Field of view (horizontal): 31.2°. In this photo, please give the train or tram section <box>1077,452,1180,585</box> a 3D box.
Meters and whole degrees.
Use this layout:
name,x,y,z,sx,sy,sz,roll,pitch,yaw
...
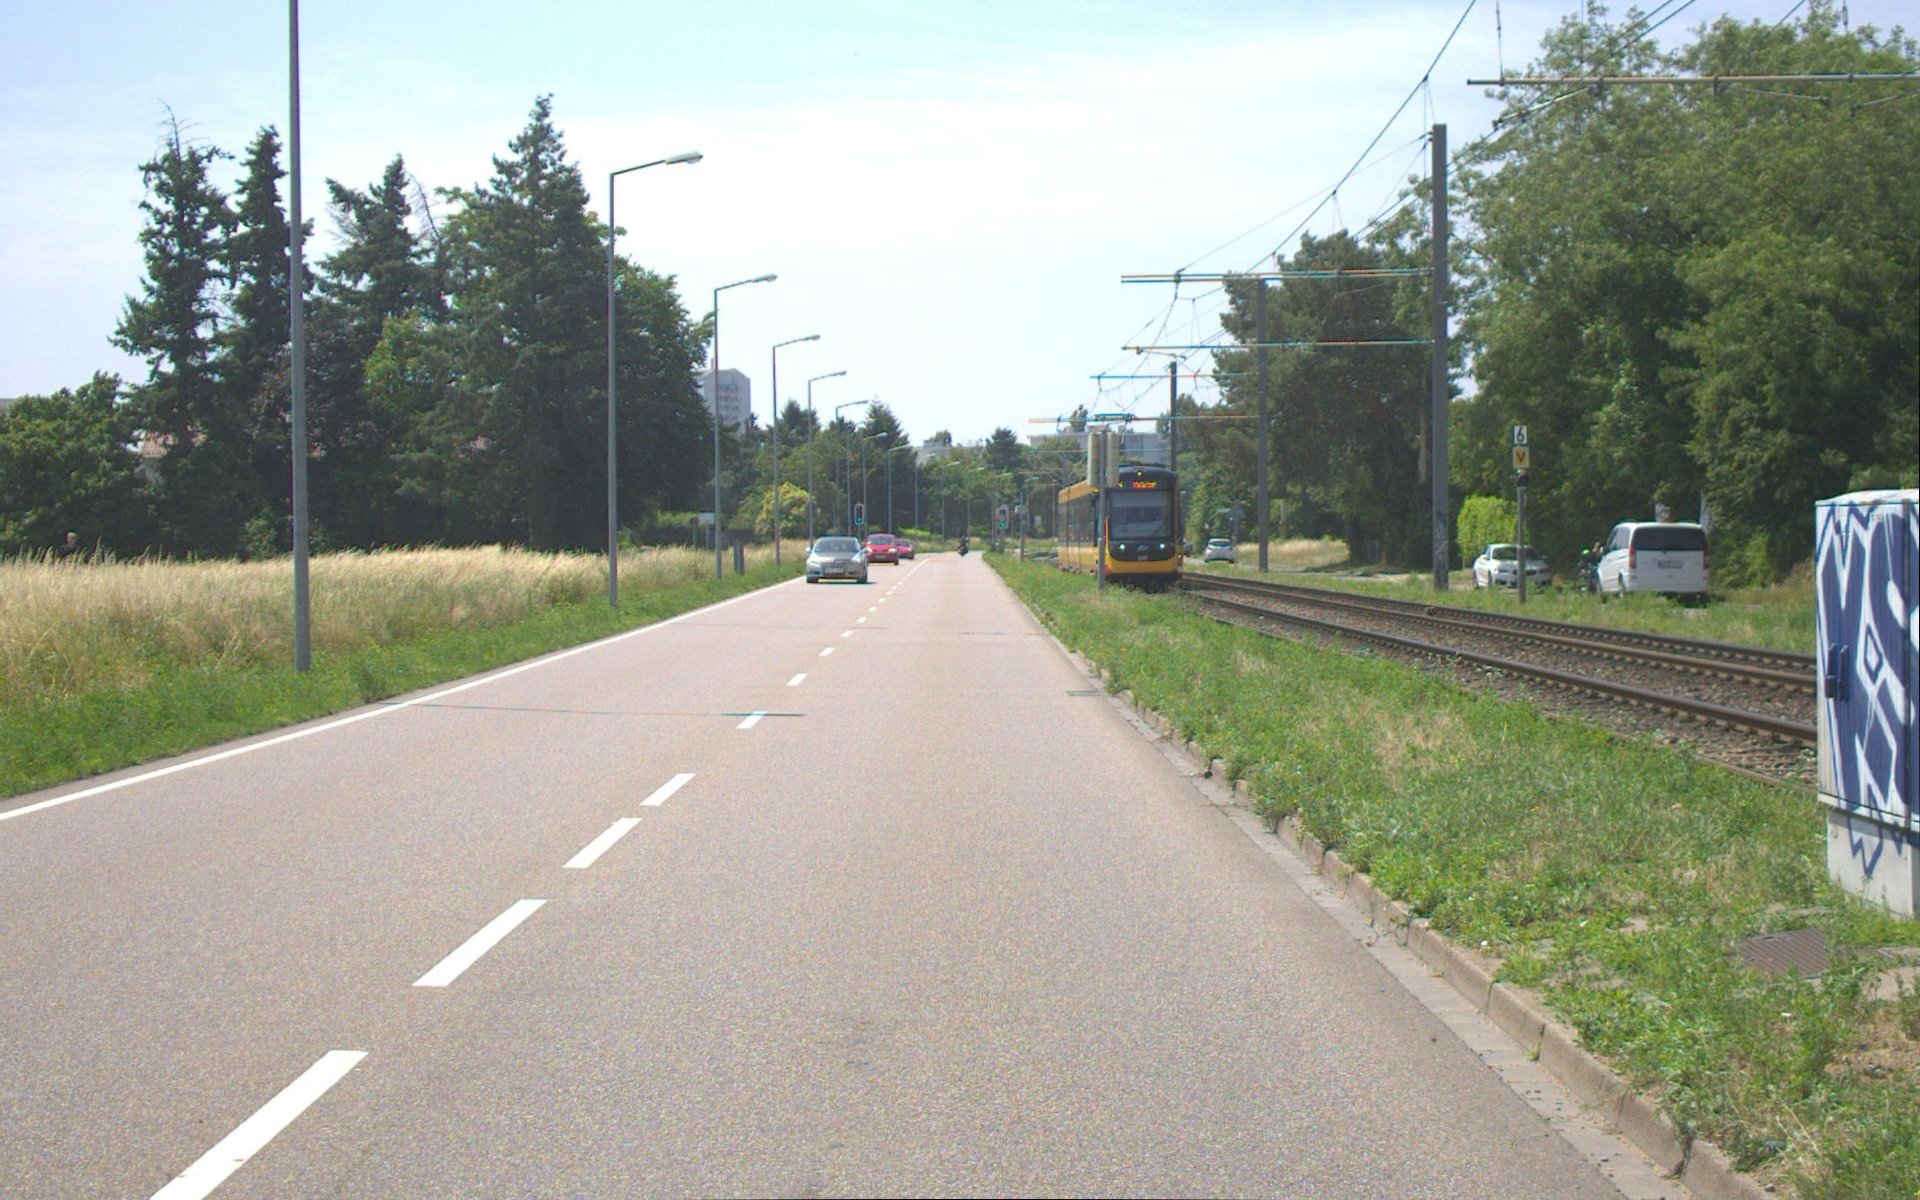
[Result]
name,x,y,z,sx,sy,sz,roll,pitch,yaw
train or tram section,5.008,-2.351,103.699,2.429,3.753,11.559,-1,0,0

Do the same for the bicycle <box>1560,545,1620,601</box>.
name,x,y,z,sx,sy,sz,roll,pitch,yaw
bicycle,16.419,-0.689,89.677,0.928,1.425,3.385,-1,0,0

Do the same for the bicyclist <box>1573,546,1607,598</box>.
name,x,y,z,sx,sy,sz,roll,pitch,yaw
bicyclist,16.413,-0.735,89.543,0.701,1.333,0.904,-1,0,0

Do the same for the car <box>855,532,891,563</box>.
name,x,y,z,sx,sy,sz,roll,pitch,yaw
car,-4.098,-2.457,162.387,1.645,1.395,3.844,-1,0,0

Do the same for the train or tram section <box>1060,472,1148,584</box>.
name,x,y,z,sx,sy,sz,roll,pitch,yaw
train or tram section,4.975,-2.439,119.630,2.701,3.753,6.729,-1,0,0

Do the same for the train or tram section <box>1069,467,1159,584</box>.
name,x,y,z,sx,sy,sz,roll,pitch,yaw
train or tram section,5.011,-2.386,112.864,2.560,3.701,6.729,-1,0,0

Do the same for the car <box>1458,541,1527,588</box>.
name,x,y,z,sx,sy,sz,roll,pitch,yaw
car,15.188,-1.008,98.186,1.428,1.303,3.466,-1,0,0

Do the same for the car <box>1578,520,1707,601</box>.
name,x,y,z,sx,sy,sz,roll,pitch,yaw
car,15.603,-0.886,78.824,1.993,1.796,4.794,-1,0,0

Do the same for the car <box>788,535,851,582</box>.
name,x,y,z,sx,sy,sz,roll,pitch,yaw
car,-4.489,-1.317,110.342,1.834,1.462,4.678,0,0,0
